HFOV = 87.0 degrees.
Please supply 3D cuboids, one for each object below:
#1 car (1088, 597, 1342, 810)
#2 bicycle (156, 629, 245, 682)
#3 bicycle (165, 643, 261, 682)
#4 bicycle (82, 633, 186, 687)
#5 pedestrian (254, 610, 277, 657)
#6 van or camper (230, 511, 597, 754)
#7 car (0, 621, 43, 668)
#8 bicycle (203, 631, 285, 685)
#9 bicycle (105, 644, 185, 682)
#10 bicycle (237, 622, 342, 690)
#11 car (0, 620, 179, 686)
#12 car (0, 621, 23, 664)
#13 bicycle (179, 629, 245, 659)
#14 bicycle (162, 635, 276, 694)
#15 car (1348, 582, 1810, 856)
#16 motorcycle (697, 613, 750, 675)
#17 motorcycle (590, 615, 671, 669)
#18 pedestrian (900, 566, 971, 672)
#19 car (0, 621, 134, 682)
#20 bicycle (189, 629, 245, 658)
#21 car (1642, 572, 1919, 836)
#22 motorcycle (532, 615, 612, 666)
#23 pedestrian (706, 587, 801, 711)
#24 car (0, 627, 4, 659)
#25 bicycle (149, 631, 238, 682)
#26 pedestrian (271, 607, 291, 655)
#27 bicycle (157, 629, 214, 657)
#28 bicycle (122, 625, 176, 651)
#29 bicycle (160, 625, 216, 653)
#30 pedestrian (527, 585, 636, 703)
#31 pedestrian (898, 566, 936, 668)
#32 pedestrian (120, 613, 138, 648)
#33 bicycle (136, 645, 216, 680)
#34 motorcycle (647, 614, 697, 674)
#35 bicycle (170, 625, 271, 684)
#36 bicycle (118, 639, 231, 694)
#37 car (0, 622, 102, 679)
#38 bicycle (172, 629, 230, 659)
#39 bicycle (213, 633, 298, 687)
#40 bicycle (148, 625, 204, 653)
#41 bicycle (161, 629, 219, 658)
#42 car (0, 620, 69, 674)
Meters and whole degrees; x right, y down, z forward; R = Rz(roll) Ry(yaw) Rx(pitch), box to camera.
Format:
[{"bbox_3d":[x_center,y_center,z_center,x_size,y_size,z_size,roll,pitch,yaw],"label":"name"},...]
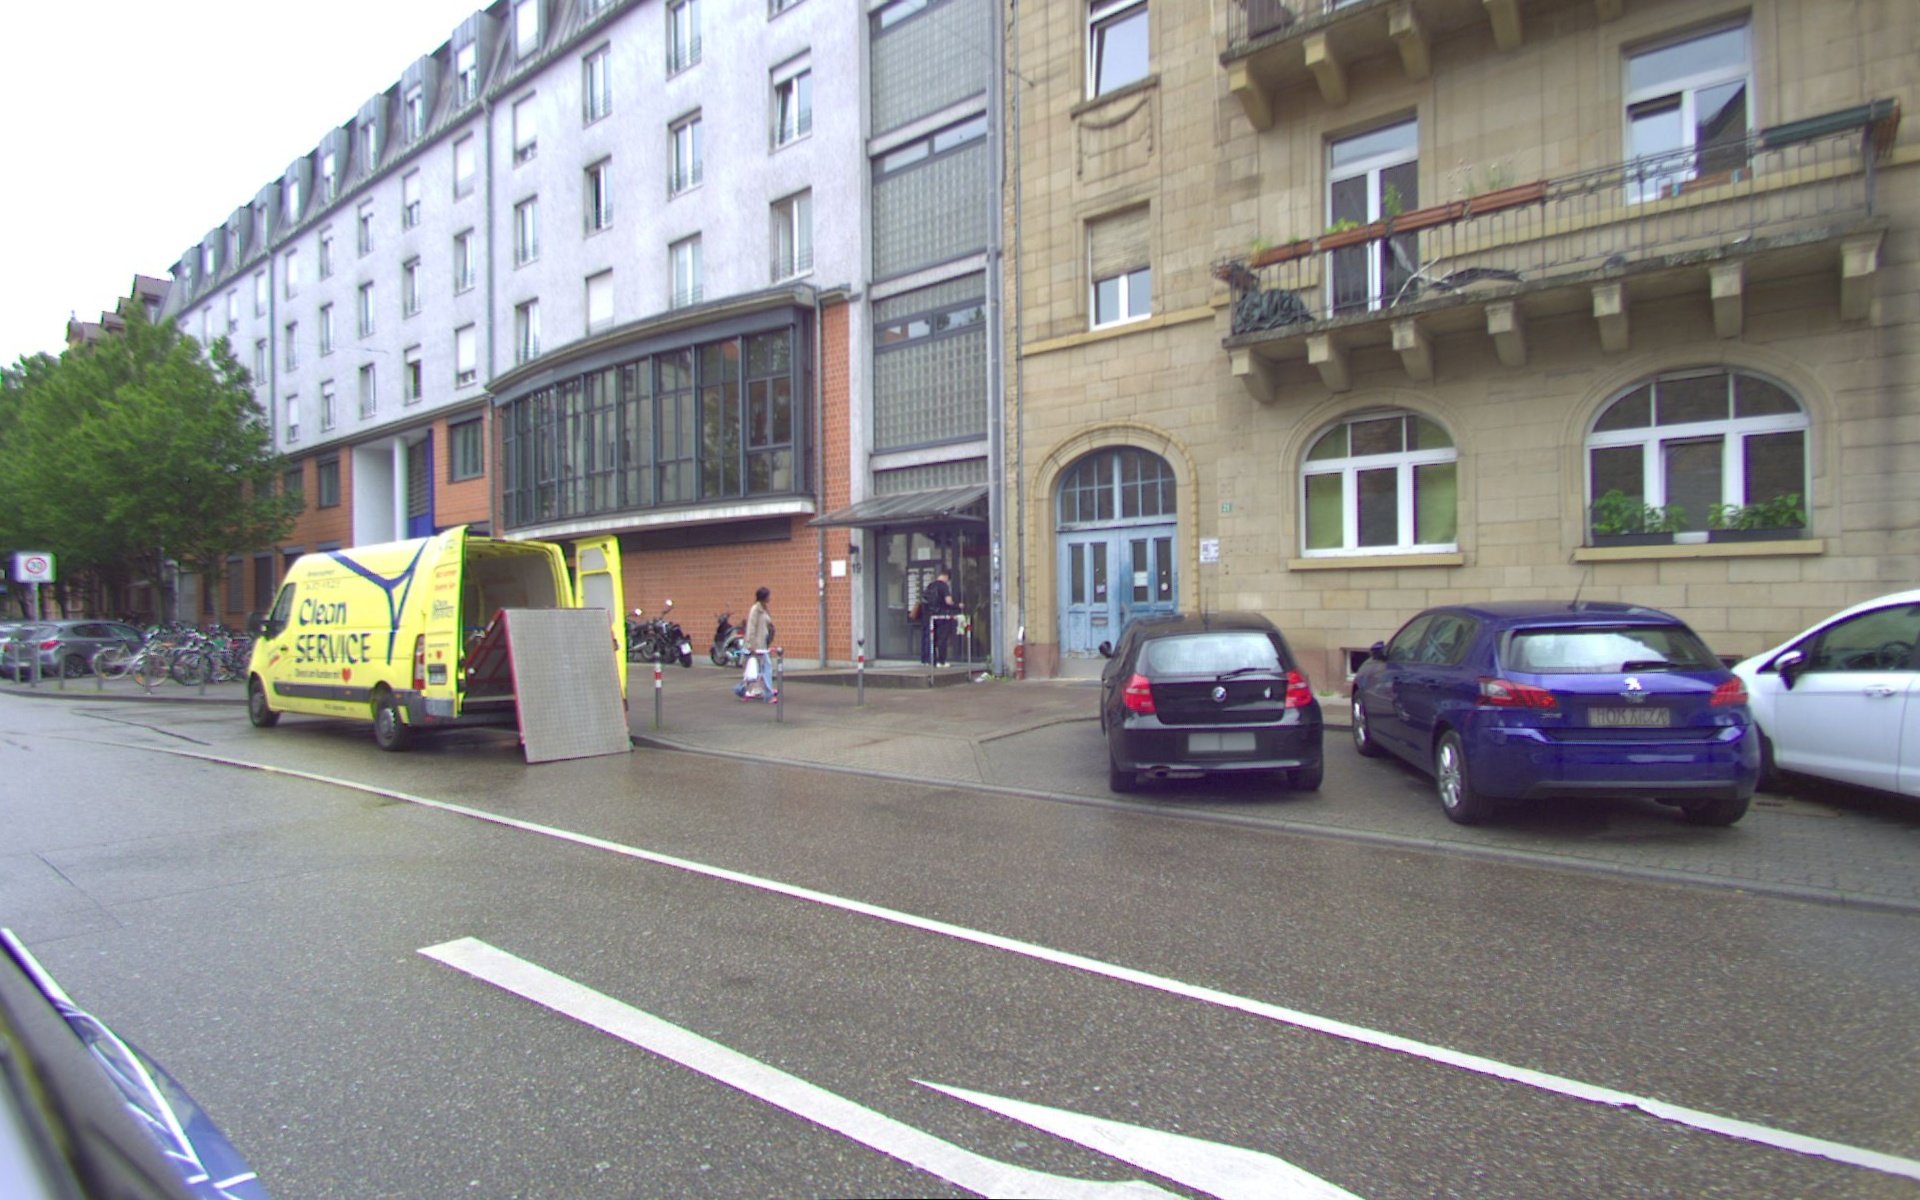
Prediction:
[{"bbox_3d":[2.217,0.783,9.389,1.779,1.523,4.030,-1,-1,11],"label":"car"},{"bbox_3d":[-17.650,1.271,23.557,0.517,1.114,1.596,-1,0,26],"label":"bicycle"},{"bbox_3d":[-17.116,1.419,23.241,0.454,0.767,1.757,-1,0,26],"label":"bicycle"},{"bbox_3d":[-19.209,1.369,23.570,0.471,1.114,1.791,-1,1,35],"label":"bicycle"},{"bbox_3d":[-23.949,1.144,34.897,0.595,1.622,0.374,0,-1,-20],"label":"pedestrian"},{"bbox_3d":[-7.546,0.425,13.660,5.934,2.631,2.175,-1,-2,38],"label":"van or camper"},{"bbox_3d":[-33.632,1.567,34.760,1.358,1.567,2.971,-1,0,11],"label":"car"},{"bbox_3d":[-15.885,1.274,22.472,1.439,1.111,0.462,-1,0,-36],"label":"bicycle"},{"bbox_3d":[-19.755,1.508,24.553,0.497,0.811,1.454,-1,1,42],"label":"bicycle"},{"bbox_3d":[-13.804,1.126,20.910,0.760,1.225,1.917,0,2,5],"label":"bicycle"},{"bbox_3d":[-22.482,1.308,26.044,1.720,1.514,3.614,0,0,8],"label":"car"},{"bbox_3d":[-35.753,1.566,36.519,1.138,1.567,2.673,-1,0,11],"label":"car"},{"bbox_3d":[-26.023,1.531,35.232,0.444,0.992,1.831,-1,-1,31],"label":"bicycle"},{"bbox_3d":[-15.388,1.317,21.060,1.832,1.081,0.610,-1,0,-45],"label":"bicycle"},{"bbox_3d":[4.420,0.735,8.039,1.779,1.585,4.030,-1,-1,11],"label":"car"},{"bbox_3d":[-4.843,0.871,20.654,0.516,1.190,1.763,-1,0,-31],"label":"motorcycle"},{"bbox_3d":[-7.557,0.944,23.149,2.202,1.165,0.643,-2,0,38],"label":"motorcycle"},{"bbox_3d":[-0.412,0.324,17.281,0.785,1.741,0.998,-1,-1,31],"label":"pedestrian"},{"bbox_3d":[-24.792,1.378,27.838,1.436,1.514,3.071,-1,0,8],"label":"car"},{"bbox_3d":[-26.539,1.547,36.182,0.444,0.992,1.573,-1,-1,32],"label":"bicycle"},{"bbox_3d":[6.578,0.621,6.368,1.773,1.567,4.044,0,-1,0],"label":"car"},{"bbox_3d":[-9.421,0.965,24.518,2.272,1.165,0.828,-2,0,41],"label":"motorcycle"},{"bbox_3d":[-3.058,0.699,14.991,1.171,1.741,0.777,-2,0,39],"label":"pedestrian"},{"bbox_3d":[-46.261,1.989,46.438,1.662,1.502,3.799,0,-2,-10],"label":"car"},{"bbox_3d":[-18.168,1.316,24.016,0.519,1.114,1.592,-1,0,35],"label":"bicycle"},{"bbox_3d":[-23.071,1.060,34.392,0.506,1.622,0.427,0,-1,-22],"label":"pedestrian"},{"bbox_3d":[-27.982,1.543,36.587,0.444,0.992,1.573,-1,-1,32],"label":"bicycle"},{"bbox_3d":[-31.242,1.458,39.017,0.463,0.992,1.573,-1,-1,32],"label":"bicycle"},{"bbox_3d":[-28.323,1.437,37.153,0.444,0.992,1.573,-1,-1,32],"label":"bicycle"},{"bbox_3d":[-6.324,0.703,16.929,1.060,1.859,1.336,-1,0,40],"label":"pedestrian"},{"bbox_3d":[-0.759,0.302,17.870,0.467,1.761,0.608,1,-2,-24],"label":"pedestrian"},{"bbox_3d":[-38.239,1.383,46.552,0.533,1.609,0.564,-2,-1,41],"label":"pedestrian"},{"bbox_3d":[-18.972,1.498,24.516,0.497,0.727,1.454,-1,1,42],"label":"bicycle"},{"bbox_3d":[-6.128,0.907,21.466,0.516,1.190,2.010,-1,0,-31],"label":"motorcycle"},{"bbox_3d":[-16.675,1.210,22.861,0.517,1.203,1.798,-1,0,26],"label":"bicycle"},{"bbox_3d":[-16.391,1.369,21.158,0.519,1.001,1.778,-1,0,37],"label":"bicycle"},{"bbox_3d":[-26.902,1.431,29.376,1.432,1.514,3.079,-1,0,-1],"label":"car"},{"bbox_3d":[-26.516,1.532,35.356,0.444,0.992,1.573,-1,-1,32],"label":"bicycle"},{"bbox_3d":[-15.285,1.275,21.981,0.418,1.072,1.443,-1,0,43],"label":"bicycle"},{"bbox_3d":[-29.285,1.445,37.816,0.463,0.992,1.573,-1,-1,32],"label":"bicycle"},{"bbox_3d":[-27.404,1.539,36.043,0.444,0.992,1.573,-1,-1,32],"label":"bicycle"},{"bbox_3d":[-29.329,1.446,30.964,1.432,1.564,3.079,-1,0,-1],"label":"car"}]
